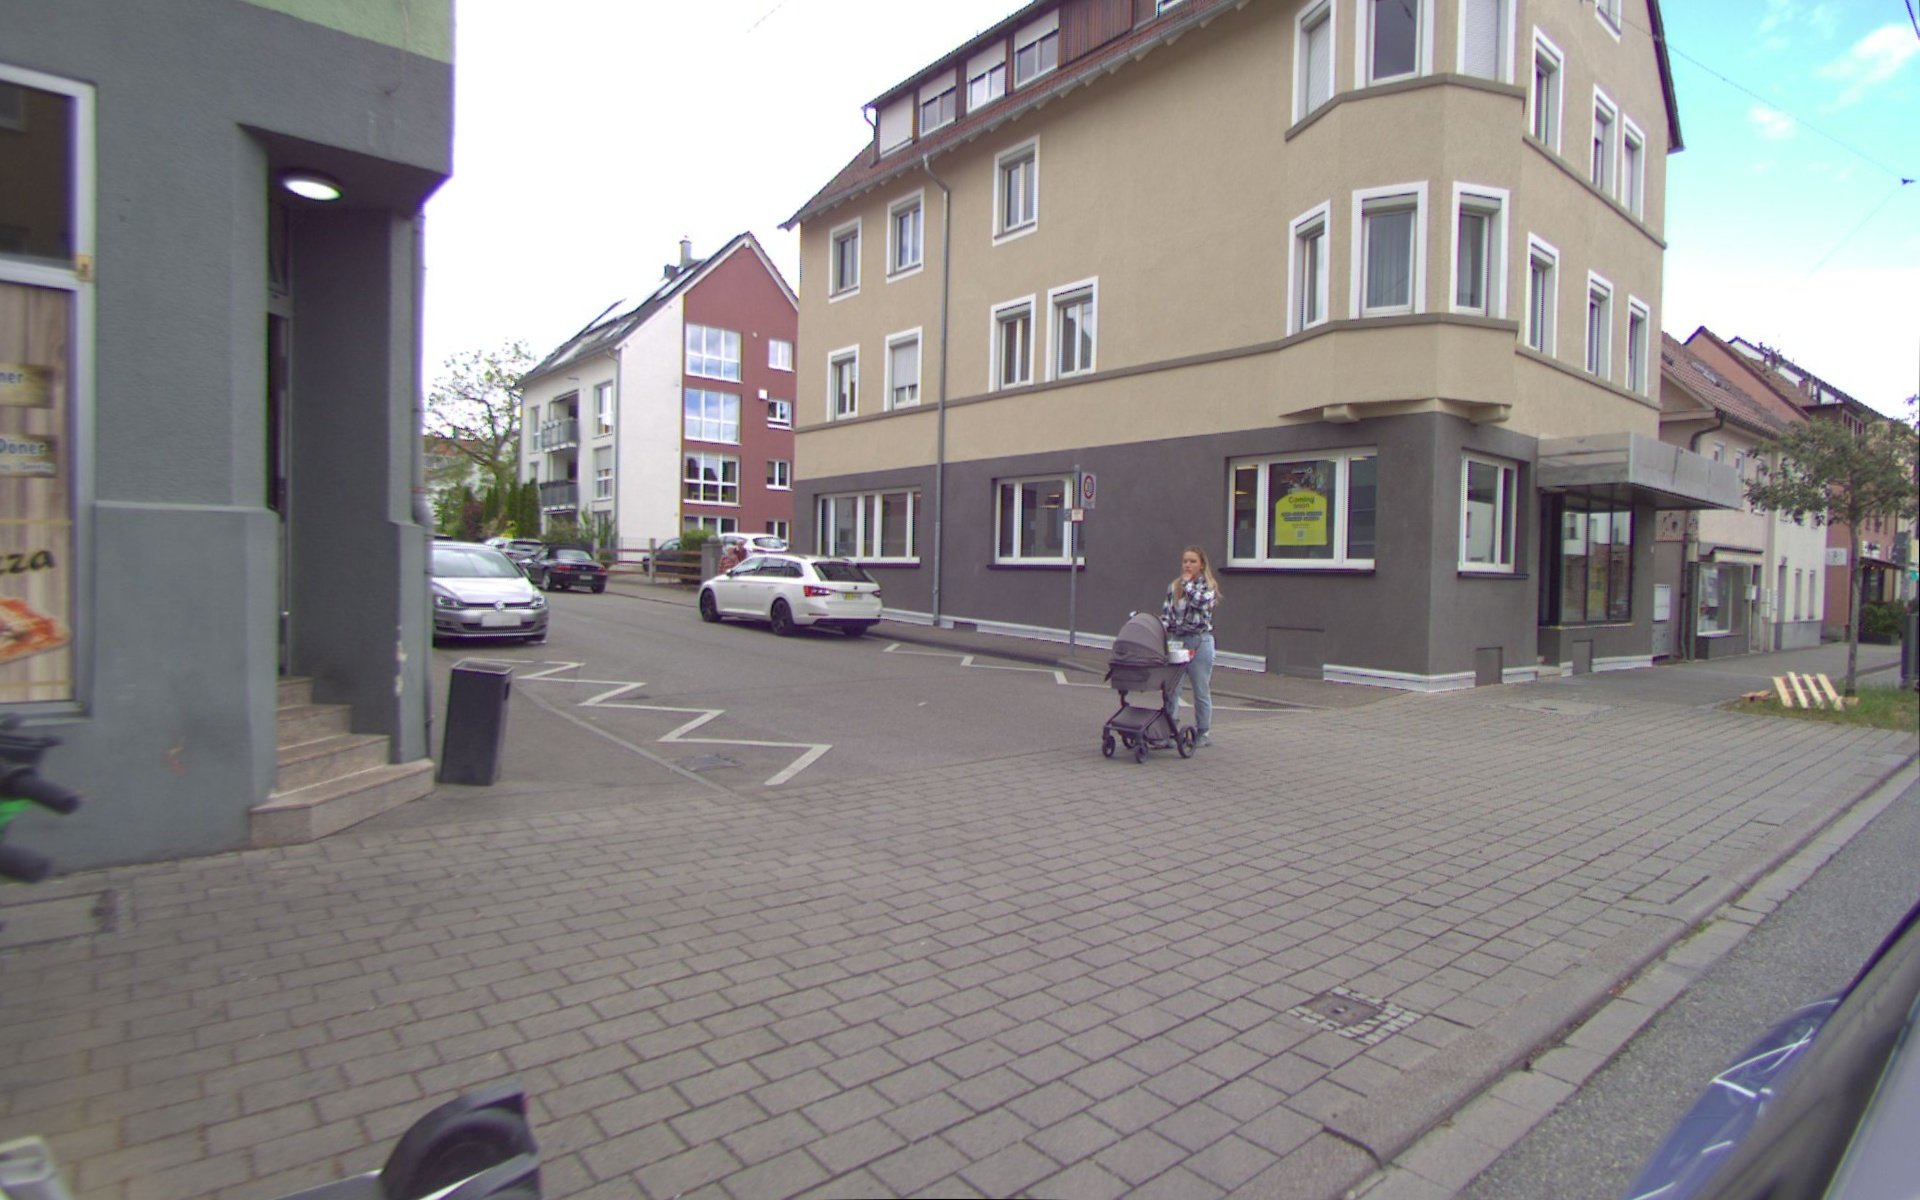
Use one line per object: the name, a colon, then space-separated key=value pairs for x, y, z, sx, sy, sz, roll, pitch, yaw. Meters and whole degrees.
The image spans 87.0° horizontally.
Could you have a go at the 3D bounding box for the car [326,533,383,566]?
car: x=-32.449 y=-2.719 z=54.171 sx=1.875 sy=1.490 sz=4.434 roll=1 pitch=3 yaw=-41

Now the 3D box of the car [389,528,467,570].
car: x=-22.027 y=-2.123 z=41.810 sx=1.875 sy=1.490 sz=4.434 roll=1 pitch=3 yaw=-41

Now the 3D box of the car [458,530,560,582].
car: x=-15.041 y=-1.473 z=33.619 sx=1.875 sy=1.490 sz=4.434 roll=1 pitch=3 yaw=-41

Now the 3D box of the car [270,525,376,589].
car: x=-16.751 y=-1.171 z=26.516 sx=1.771 sy=1.482 sz=4.361 roll=-1 pitch=4 yaw=-40

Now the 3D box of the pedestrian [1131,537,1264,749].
pedestrian: x=2.087 y=0.344 z=8.896 sx=0.884 sy=1.741 sz=0.752 roll=0 pitch=0 yaw=-40

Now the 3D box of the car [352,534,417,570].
car: x=-27.779 y=-2.332 z=48.826 sx=1.875 sy=1.490 sz=4.434 roll=1 pitch=3 yaw=-41

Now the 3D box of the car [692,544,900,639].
car: x=-3.265 y=-0.220 z=19.503 sx=1.875 sy=1.490 sz=4.434 roll=1 pitch=3 yaw=-41

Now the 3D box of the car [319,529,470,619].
car: x=-11.117 y=-0.579 z=19.742 sx=1.771 sy=1.482 sz=4.361 roll=-1 pitch=4 yaw=-40

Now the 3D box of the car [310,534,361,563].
car: x=-36.600 y=-3.023 z=59.263 sx=1.875 sy=1.490 sz=4.434 roll=1 pitch=3 yaw=-41

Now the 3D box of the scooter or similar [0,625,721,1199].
scooter or similar: x=-1.457 y=0.701 z=1.985 sx=1.908 sy=1.251 sz=0.503 roll=0 pitch=1 yaw=-41

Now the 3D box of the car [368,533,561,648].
car: x=-7.831 y=-0.237 z=15.792 sx=1.771 sy=1.482 sz=4.058 roll=-1 pitch=4 yaw=-40

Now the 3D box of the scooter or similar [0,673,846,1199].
scooter or similar: x=-1.111 y=0.805 z=1.577 sx=1.908 sy=1.251 sz=0.503 roll=0 pitch=1 yaw=-41

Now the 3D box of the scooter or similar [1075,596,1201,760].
scooter or similar: x=1.460 y=0.600 z=8.278 sx=0.876 sy=1.248 sz=0.590 roll=0 pitch=0 yaw=-41

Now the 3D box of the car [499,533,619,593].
car: x=-11.767 y=-1.110 z=29.538 sx=1.875 sy=1.490 sz=4.434 roll=1 pitch=3 yaw=-41
